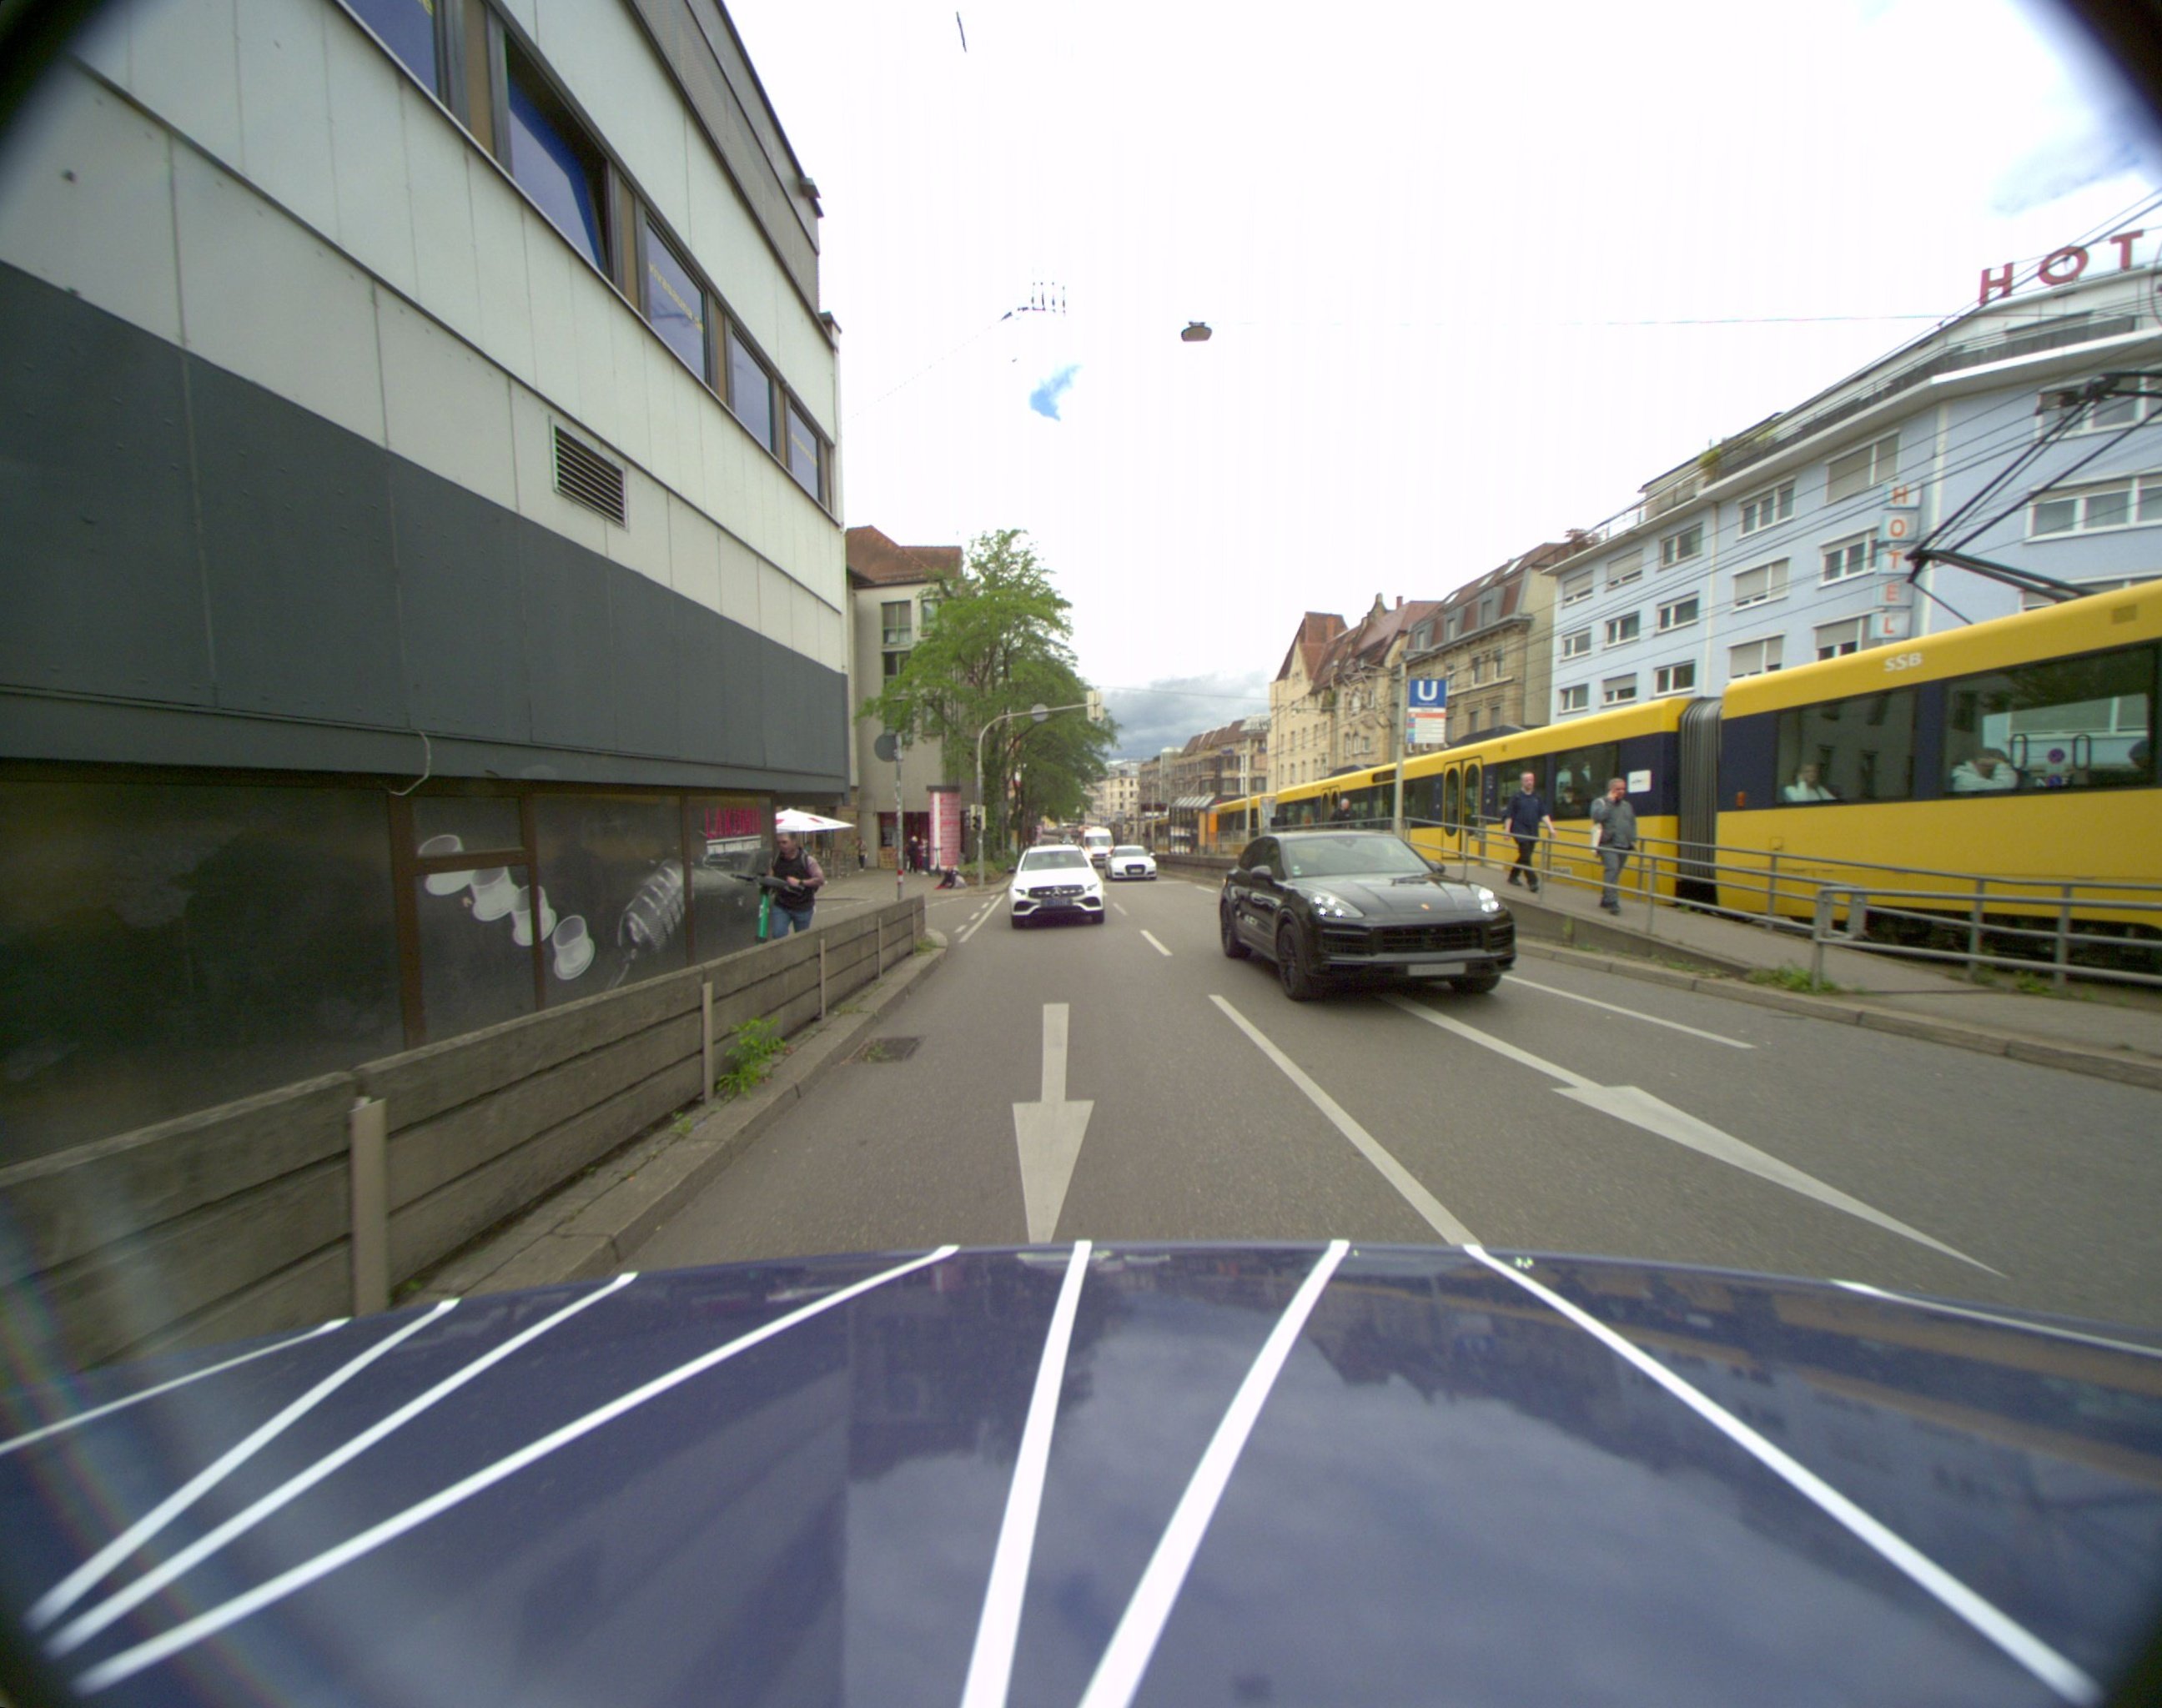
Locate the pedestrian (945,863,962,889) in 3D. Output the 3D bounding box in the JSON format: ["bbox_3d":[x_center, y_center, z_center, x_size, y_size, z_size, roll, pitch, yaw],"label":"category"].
[{"bbox_3d":[-4.681,0.809,27.866,0.485,0.905,0.583,-1,1,1],"label":"pedestrian"}]

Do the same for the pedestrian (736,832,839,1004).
[{"bbox_3d":[-3.195,0.659,8.357,0.722,1.776,0.883,-2,2,0],"label":"pedestrian"}]

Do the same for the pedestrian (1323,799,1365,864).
[{"bbox_3d":[6.481,-0.560,18.743,0.780,1.575,0.665,0,2,-2],"label":"pedestrian"}]

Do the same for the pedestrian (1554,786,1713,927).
[{"bbox_3d":[6.891,-0.004,9.562,1.119,1.672,1.040,0,6,-2],"label":"pedestrian"}]

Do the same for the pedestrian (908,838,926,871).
[{"bbox_3d":[-7.695,0.031,35.686,0.625,1.514,0.664,-2,2,4],"label":"pedestrian"}]

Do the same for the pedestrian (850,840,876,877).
[{"bbox_3d":[-10.877,0.234,37.873,0.901,1.823,0.737,-1,1,26],"label":"pedestrian"}]

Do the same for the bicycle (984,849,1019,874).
[{"bbox_3d":[-3.998,0.385,38.198,1.745,1.215,0.541,0,1,-6],"label":"bicycle"}]

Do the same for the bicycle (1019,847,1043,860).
[{"bbox_3d":[-4.656,-0.069,70.586,2.094,1.079,0.712,-3,2,-9],"label":"bicycle"}]

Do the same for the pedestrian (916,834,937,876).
[{"bbox_3d":[-7.238,0.038,35.595,0.706,1.879,0.880,-2,2,4],"label":"pedestrian"}]

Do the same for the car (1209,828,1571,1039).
[{"bbox_3d":[2.934,0.604,8.583,2.033,1.675,4.779,-1,1,-2],"label":"car"}]

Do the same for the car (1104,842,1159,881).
[{"bbox_3d":[2.077,0.259,32.256,1.897,1.467,4.529,-1,1,-2],"label":"car"}]

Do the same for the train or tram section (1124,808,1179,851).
[{"bbox_3d":[6.221,-2.146,69.660,2.889,3.399,14.223,-3,1,-3],"label":"train or tram section"}]

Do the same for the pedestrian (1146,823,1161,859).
[{"bbox_3d":[4.584,-0.813,48.241,0.838,2.272,0.772,0,2,-2],"label":"pedestrian"}]

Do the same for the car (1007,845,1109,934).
[{"bbox_3d":[-0.504,0.655,16.956,1.935,1.622,4.771,-1,1,-2],"label":"car"}]

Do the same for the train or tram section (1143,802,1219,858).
[{"bbox_3d":[6.933,-1.655,55.519,2.889,3.422,14.223,-3,1,-3],"label":"train or tram section"}]

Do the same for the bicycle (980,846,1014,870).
[{"bbox_3d":[-4.341,0.189,39.347,1.692,1.215,0.541,-1,1,-6],"label":"bicycle"}]

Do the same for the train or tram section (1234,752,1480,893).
[{"bbox_3d":[8.704,-0.966,27.081,2.889,3.643,14.222,-1,1,-3],"label":"train or tram section"}]

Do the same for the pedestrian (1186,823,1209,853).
[{"bbox_3d":[5.138,-0.720,33.542,0.852,1.299,0.778,1,2,-1],"label":"pedestrian"}]

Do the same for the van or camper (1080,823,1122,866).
[{"bbox_3d":[1.228,-0.667,49.346,2.209,2.544,6.370,-2,1,-2],"label":"van or camper"}]

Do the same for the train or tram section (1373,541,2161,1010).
[{"bbox_3d":[9.469,-0.755,12.882,2.889,3.643,14.222,-1,1,-3],"label":"train or tram section"}]

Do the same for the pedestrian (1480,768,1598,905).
[{"bbox_3d":[6.841,-0.285,11.433,0.932,1.959,1.232,0,4,-2],"label":"pedestrian"}]

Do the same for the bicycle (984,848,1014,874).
[{"bbox_3d":[-4.031,0.336,37.390,1.425,1.215,0.541,-3,2,-6],"label":"bicycle"}]

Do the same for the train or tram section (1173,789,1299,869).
[{"bbox_3d":[7.850,-1.345,41.292,2.931,3.539,14.220,-2,2,-4],"label":"train or tram section"}]

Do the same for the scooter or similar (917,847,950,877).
[{"bbox_3d":[-6.491,0.352,33.503,1.387,1.247,0.632,2,3,33],"label":"scooter or similar"}]
